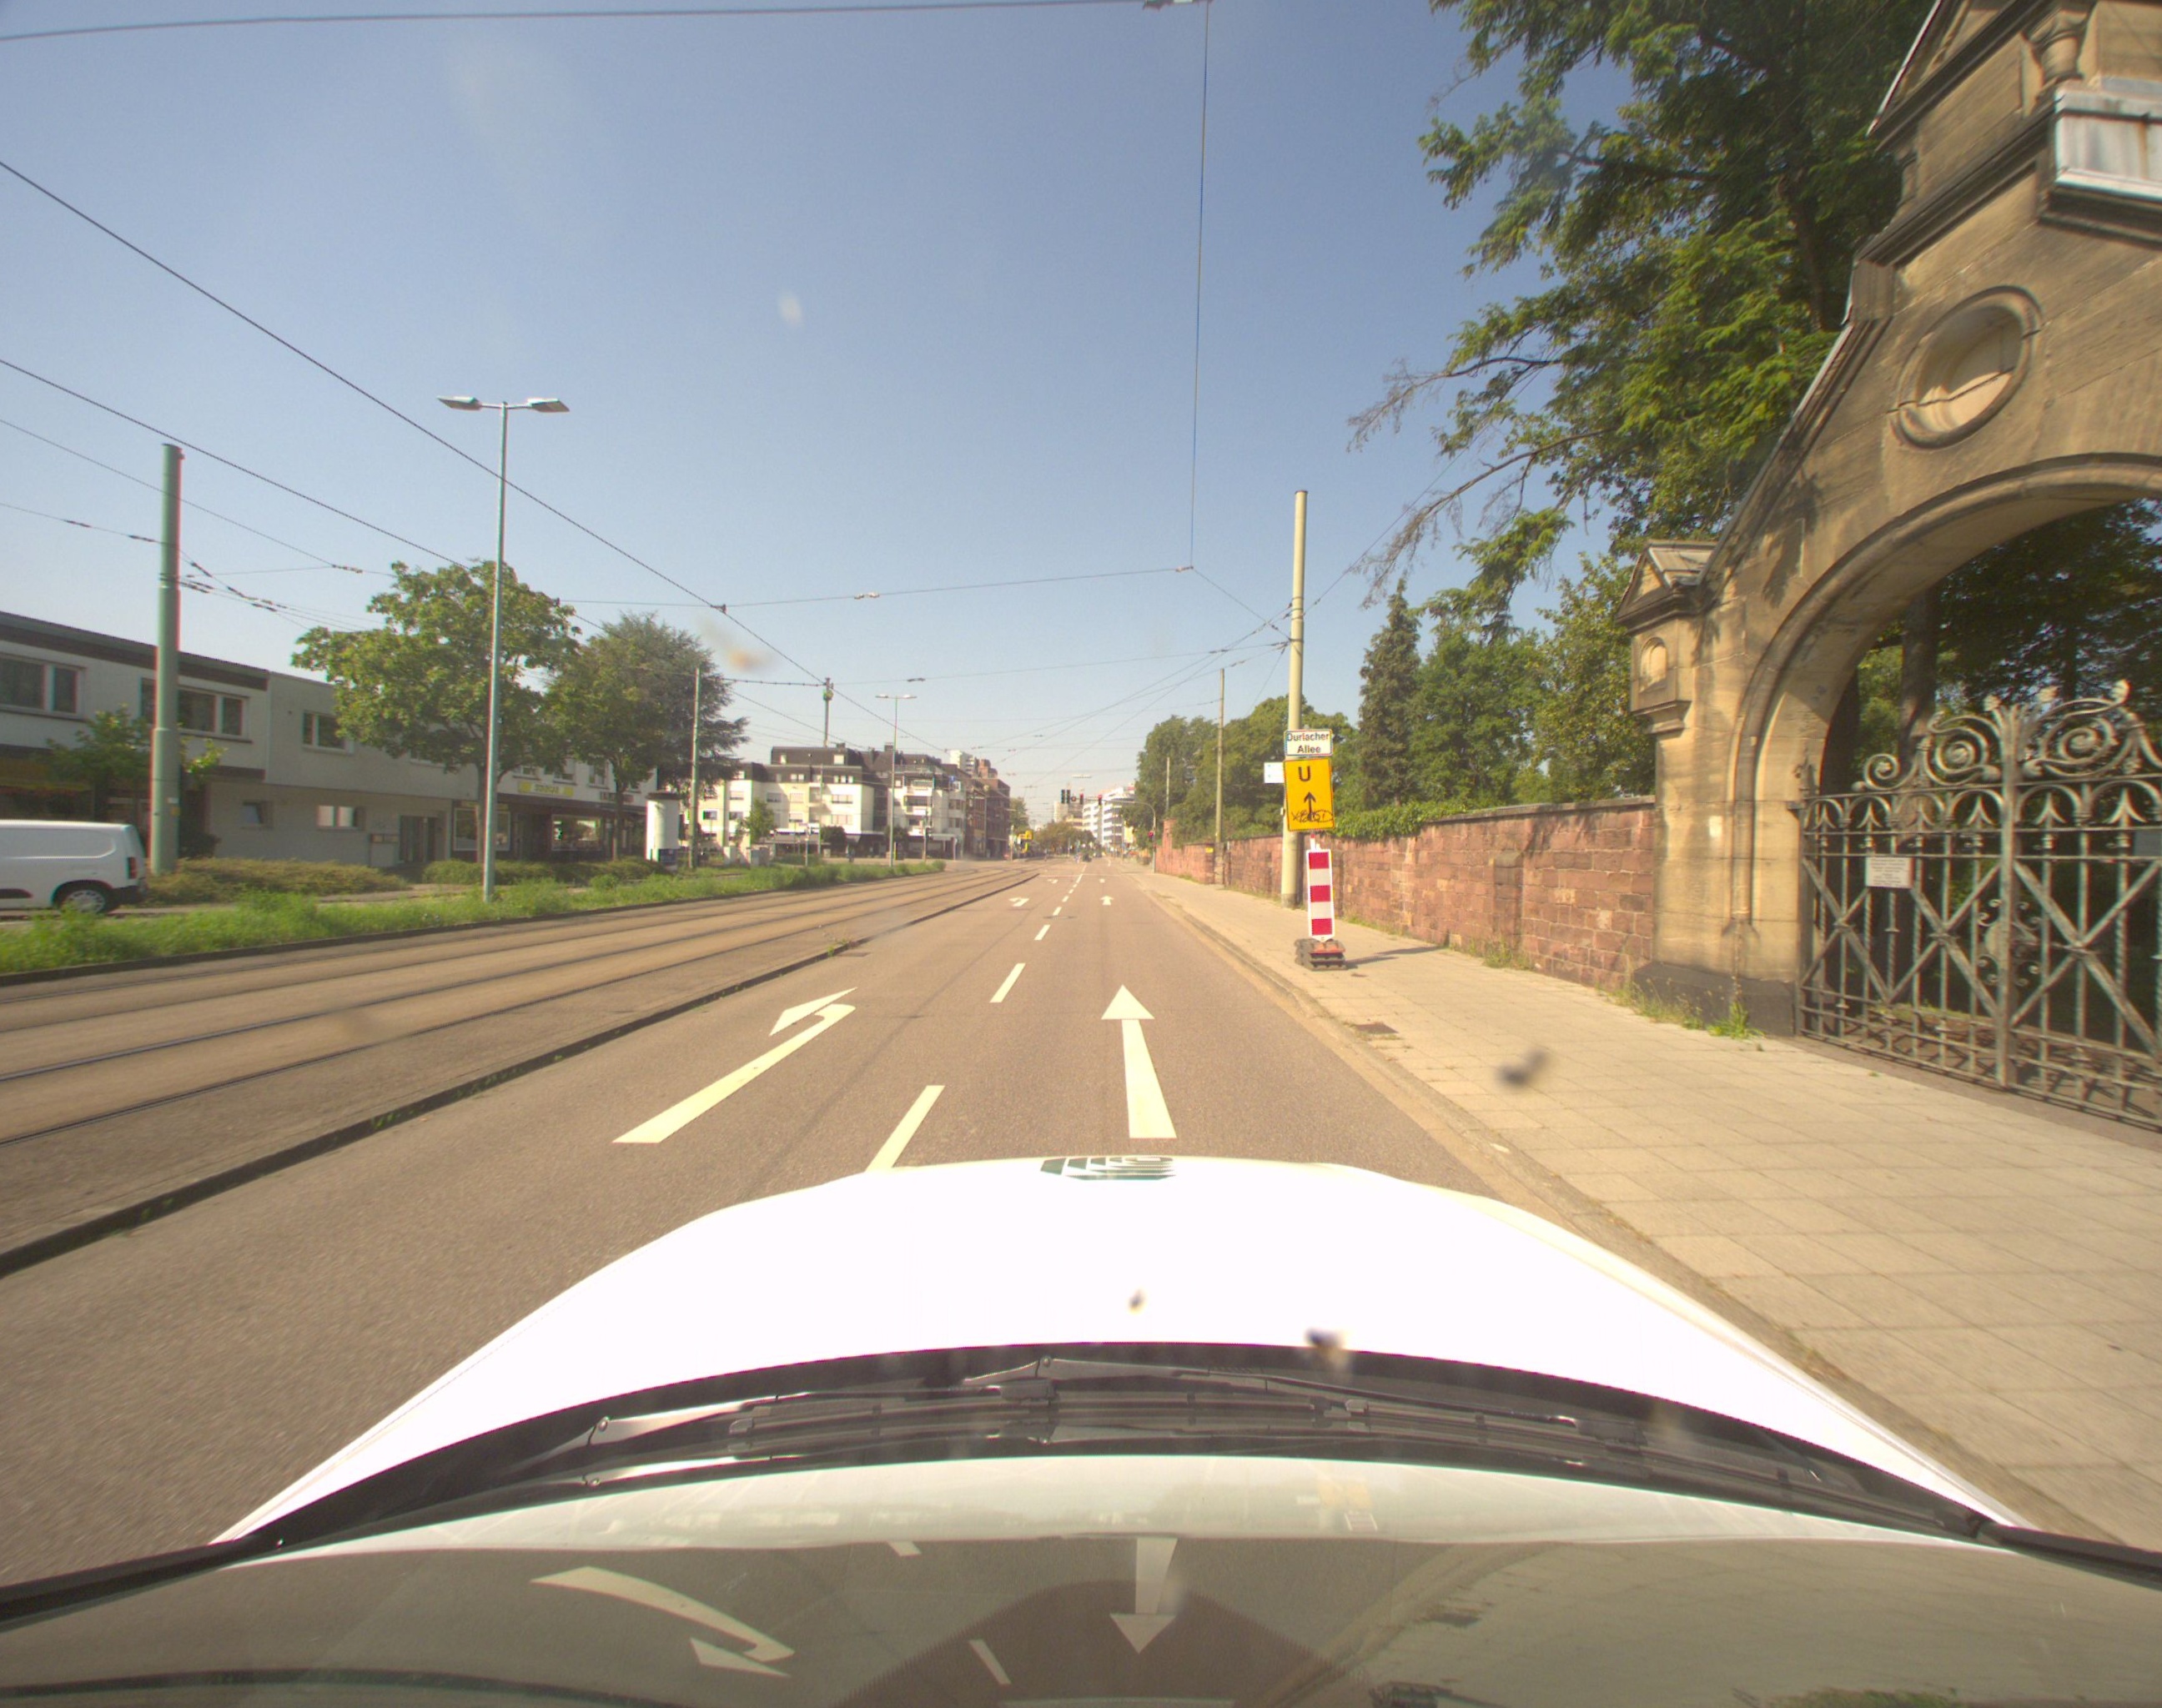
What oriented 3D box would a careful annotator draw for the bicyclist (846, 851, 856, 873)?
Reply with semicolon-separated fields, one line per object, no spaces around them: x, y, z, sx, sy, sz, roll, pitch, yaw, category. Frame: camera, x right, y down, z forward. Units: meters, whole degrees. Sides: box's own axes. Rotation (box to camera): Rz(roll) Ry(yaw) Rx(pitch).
-21.108;0.720;74.890;0.634;2.064;0.775;0;-1;5;bicyclist

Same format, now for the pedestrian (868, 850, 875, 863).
-29.066;0.378;113.064;0.677;1.741;0.698;0;-1;2;pedestrian

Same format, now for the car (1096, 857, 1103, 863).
5.430;1.728;239.047;2.003;1.859;4.002;0;-1;2;car

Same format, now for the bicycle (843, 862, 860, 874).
-21.110;1.240;74.871;0.711;1.091;2.268;0;-1;5;bicycle

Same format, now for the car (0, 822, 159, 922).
-20.004;0.297;14.676;1.965;1.758;4.446;1;0;42;car

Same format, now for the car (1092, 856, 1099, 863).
4.462;1.638;245.157;2.003;1.859;4.002;0;-1;2;car
